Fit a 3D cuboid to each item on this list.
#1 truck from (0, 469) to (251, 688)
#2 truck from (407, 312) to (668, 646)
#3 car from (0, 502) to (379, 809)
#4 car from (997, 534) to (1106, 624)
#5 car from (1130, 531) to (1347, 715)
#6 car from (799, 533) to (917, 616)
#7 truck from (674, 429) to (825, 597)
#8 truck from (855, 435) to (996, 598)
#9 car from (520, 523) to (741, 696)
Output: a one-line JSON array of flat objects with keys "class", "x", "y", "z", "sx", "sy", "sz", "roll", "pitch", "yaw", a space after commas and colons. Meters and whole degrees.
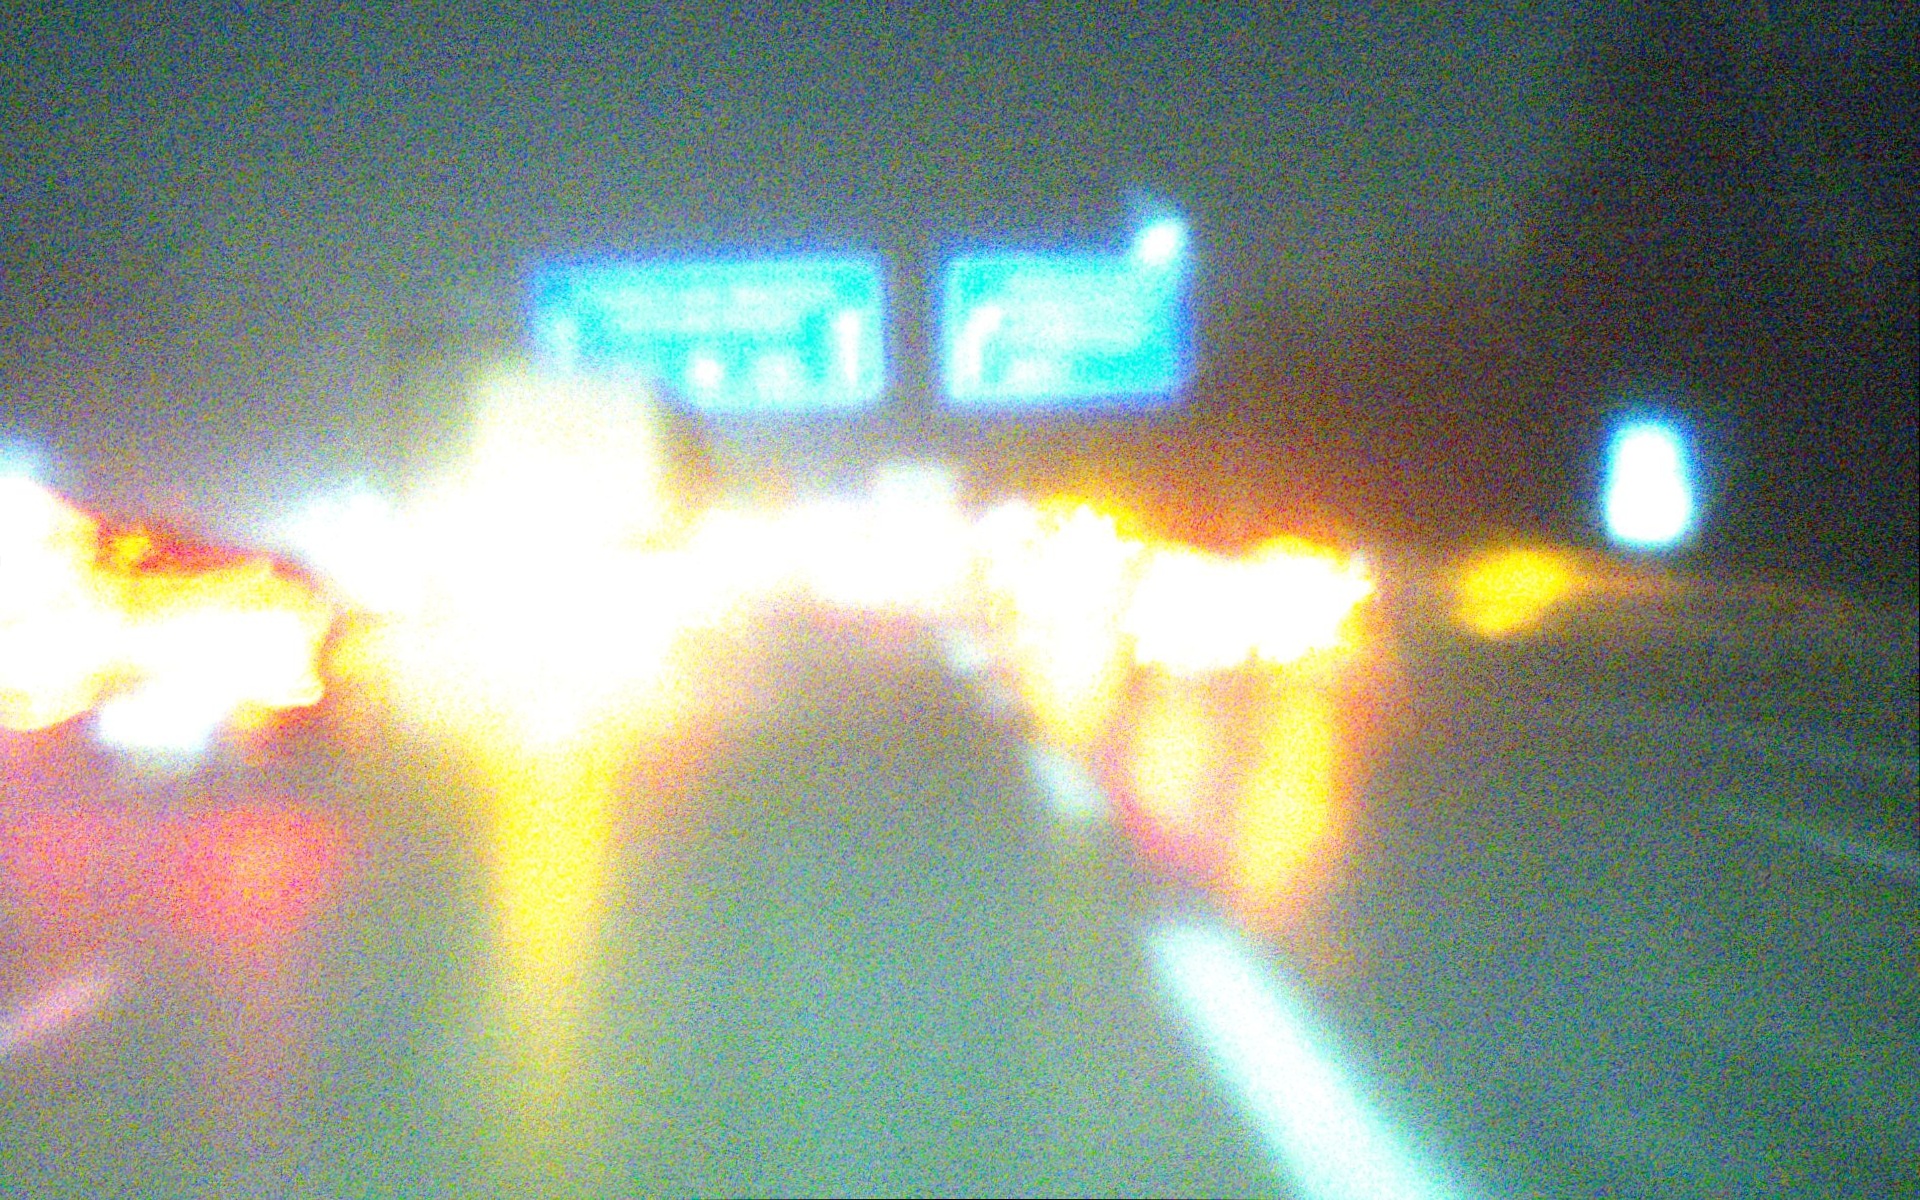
[{"class": "truck", "x": -9.660, "y": -0.266, "z": 37.691, "sx": 2.857, "sy": 2.193, "sz": 5.859, "roll": 1, "pitch": 1, "yaw": -3}, {"class": "truck", "x": -6.489, "y": -1.800, "z": 54.328, "sx": 3.655, "sy": 4.721, "sz": 9.854, "roll": 1, "pitch": 1, "yaw": -5}, {"class": "car", "x": -4.645, "y": 0.251, "z": 20.955, "sx": 1.765, "sy": 1.683, "sz": 4.001, "roll": 0, "pitch": 2, "yaw": -4}, {"class": "car", "x": 1.789, "y": -0.434, "z": 68.659, "sx": 1.993, "sy": 1.698, "sz": 4.459, "roll": 1, "pitch": 1, "yaw": -1}, {"class": "car", "x": 2.807, "y": 0.198, "z": 35.414, "sx": 1.878, "sy": 1.756, "sz": 4.000, "roll": 1, "pitch": 1, "yaw": 0}, {"class": "car", "x": -2.559, "y": -0.675, "z": 87.871, "sx": 2.833, "sy": 2.007, "sz": 5.510, "roll": 1, "pitch": 1, "yaw": 0}, {"class": "truck", "x": -7.083, "y": -2.910, "z": 117.663, "sx": 4.254, "sy": 5.425, "sz": 10.884, "roll": 1, "pitch": 1, "yaw": 1}, {"class": "truck", "x": -1.262, "y": -2.755, "z": 116.160, "sx": 4.161, "sy": 5.197, "sz": 9.955, "roll": 1, "pitch": 1, "yaw": -3}, {"class": "car", "x": -3.546, "y": 0.067, "z": 37.779, "sx": 2.038, "sy": 1.755, "sz": 4.516, "roll": 1, "pitch": 1, "yaw": -1}]
